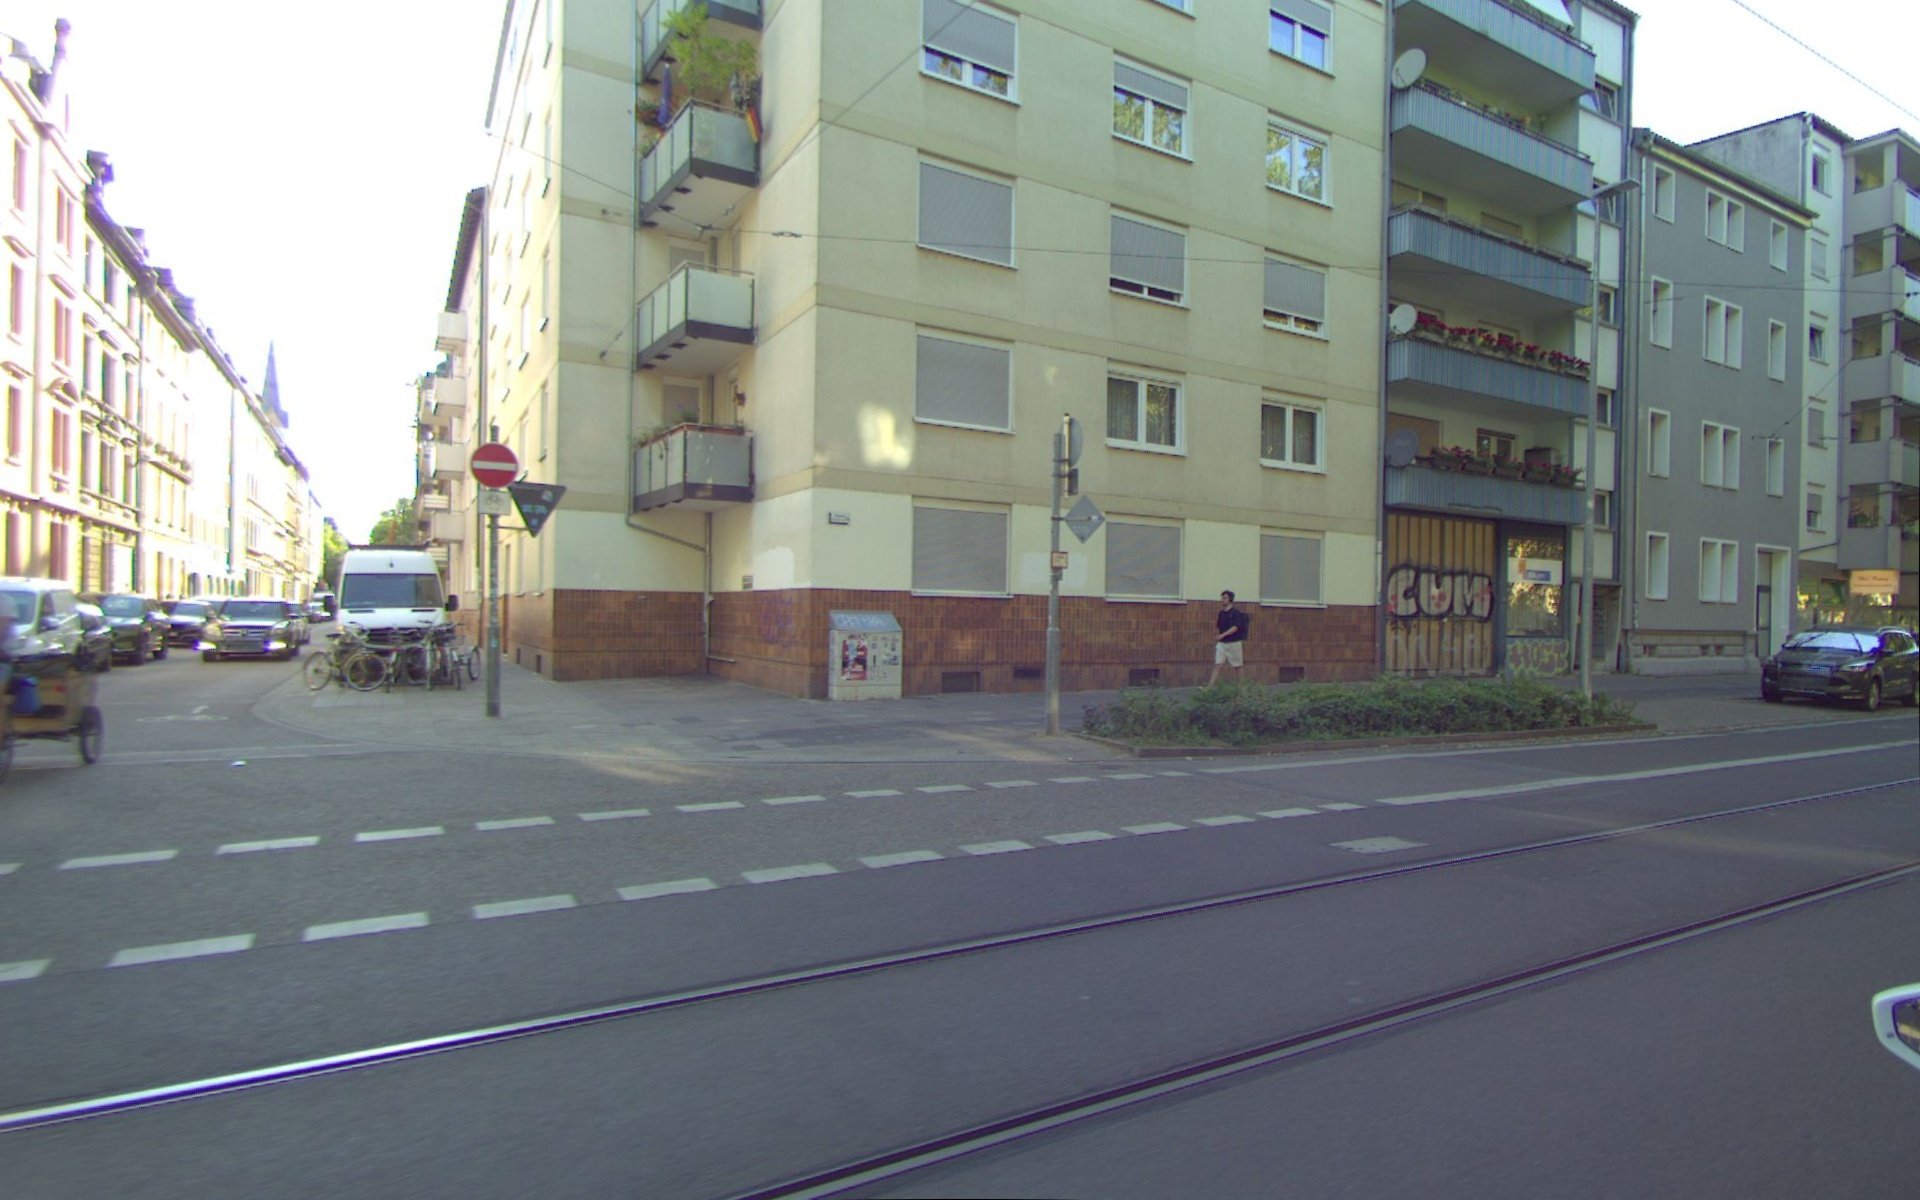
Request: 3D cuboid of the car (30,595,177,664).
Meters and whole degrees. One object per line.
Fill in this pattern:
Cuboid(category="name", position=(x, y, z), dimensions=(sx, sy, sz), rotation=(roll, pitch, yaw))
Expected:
Cuboid(category="car", position=(-20.382, 0.675, 24.093), dimensions=(2.006, 1.519, 3.926), rotation=(1, -1, -31))

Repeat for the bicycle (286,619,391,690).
Cuboid(category="bicycle", position=(-10.558, 0.922, 17.060), dimensions=(1.571, 1.172, 0.585), rotation=(0, -2, 16))

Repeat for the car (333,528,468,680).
Cuboid(category="car", position=(-11.920, 0.107, 21.292), dimensions=(2.146, 2.759, 5.778), rotation=(1, -1, -31))

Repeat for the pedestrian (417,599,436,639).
Cuboid(category="pedestrian", position=(-23.511, 0.843, 44.254), dimensions=(0.649, 1.761, 0.765), rotation=(2, -1, -33))

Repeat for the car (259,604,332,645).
Cuboid(category="car", position=(-25.827, 0.939, 39.162), dimensions=(2.005, 1.519, 3.928), rotation=(1, -1, -29))

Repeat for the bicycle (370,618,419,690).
Cuboid(category="bicycle", position=(-9.663, 0.919, 17.203), dimensions=(0.576, 1.172, 1.744), rotation=(1, -3, -25))

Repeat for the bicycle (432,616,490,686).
Cuboid(category="bicycle", position=(-8.801, 0.888, 17.683), dimensions=(0.579, 1.172, 1.736), rotation=(2, -3, -38))

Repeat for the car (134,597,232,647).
Cuboid(category="car", position=(-25.406, 0.714, 32.979), dimensions=(2.006, 1.519, 3.927), rotation=(1, -1, -30))

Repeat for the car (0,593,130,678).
Cuboid(category="car", position=(-18.097, 0.655, 19.844), dimensions=(2.006, 1.519, 3.925), rotation=(1, -1, -31))

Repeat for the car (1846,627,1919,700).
Cuboid(category="car", position=(23.287, 1.509, 24.163), dimensions=(4.192, 1.565, 1.694), rotation=(1, 2, -30))

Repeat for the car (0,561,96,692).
Cuboid(category="car", position=(-15.433, 0.367, 15.895), dimensions=(2.017, 1.846, 4.845), rotation=(1, -1, -33))

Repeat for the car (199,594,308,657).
Cuboid(category="car", position=(-18.365, 0.644, 26.285), dimensions=(2.006, 1.519, 3.926), rotation=(1, -1, -31))

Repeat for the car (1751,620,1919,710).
Cuboid(category="car", position=(18.897, 1.338, 21.528), dimensions=(4.194, 1.673, 1.693), rotation=(1, 2, -32))

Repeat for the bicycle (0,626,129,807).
Cuboid(category="bicycle", position=(-7.623, 0.833, 8.004), dimensions=(0.909, 1.172, 2.785), rotation=(1, 0, -26))

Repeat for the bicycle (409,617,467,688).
Cuboid(category="bicycle", position=(-9.097, 0.910, 17.486), dimensions=(0.579, 1.172, 1.736), rotation=(2, -3, -38))

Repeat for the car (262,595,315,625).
Cuboid(category="car", position=(-35.553, 0.531, 53.260), dimensions=(2.005, 1.519, 3.927), rotation=(1, -1, -30))

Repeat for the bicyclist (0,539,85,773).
Cuboid(category="bicyclist", position=(-7.467, 0.409, 7.718), dimensions=(0.896, 1.727, 0.868), rotation=(1, 0, -27))

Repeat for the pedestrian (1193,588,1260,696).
Cuboid(category="pedestrian", position=(4.727, 0.731, 17.802), dimensions=(0.954, 1.850, 0.660), rotation=(1, -1, -32))
